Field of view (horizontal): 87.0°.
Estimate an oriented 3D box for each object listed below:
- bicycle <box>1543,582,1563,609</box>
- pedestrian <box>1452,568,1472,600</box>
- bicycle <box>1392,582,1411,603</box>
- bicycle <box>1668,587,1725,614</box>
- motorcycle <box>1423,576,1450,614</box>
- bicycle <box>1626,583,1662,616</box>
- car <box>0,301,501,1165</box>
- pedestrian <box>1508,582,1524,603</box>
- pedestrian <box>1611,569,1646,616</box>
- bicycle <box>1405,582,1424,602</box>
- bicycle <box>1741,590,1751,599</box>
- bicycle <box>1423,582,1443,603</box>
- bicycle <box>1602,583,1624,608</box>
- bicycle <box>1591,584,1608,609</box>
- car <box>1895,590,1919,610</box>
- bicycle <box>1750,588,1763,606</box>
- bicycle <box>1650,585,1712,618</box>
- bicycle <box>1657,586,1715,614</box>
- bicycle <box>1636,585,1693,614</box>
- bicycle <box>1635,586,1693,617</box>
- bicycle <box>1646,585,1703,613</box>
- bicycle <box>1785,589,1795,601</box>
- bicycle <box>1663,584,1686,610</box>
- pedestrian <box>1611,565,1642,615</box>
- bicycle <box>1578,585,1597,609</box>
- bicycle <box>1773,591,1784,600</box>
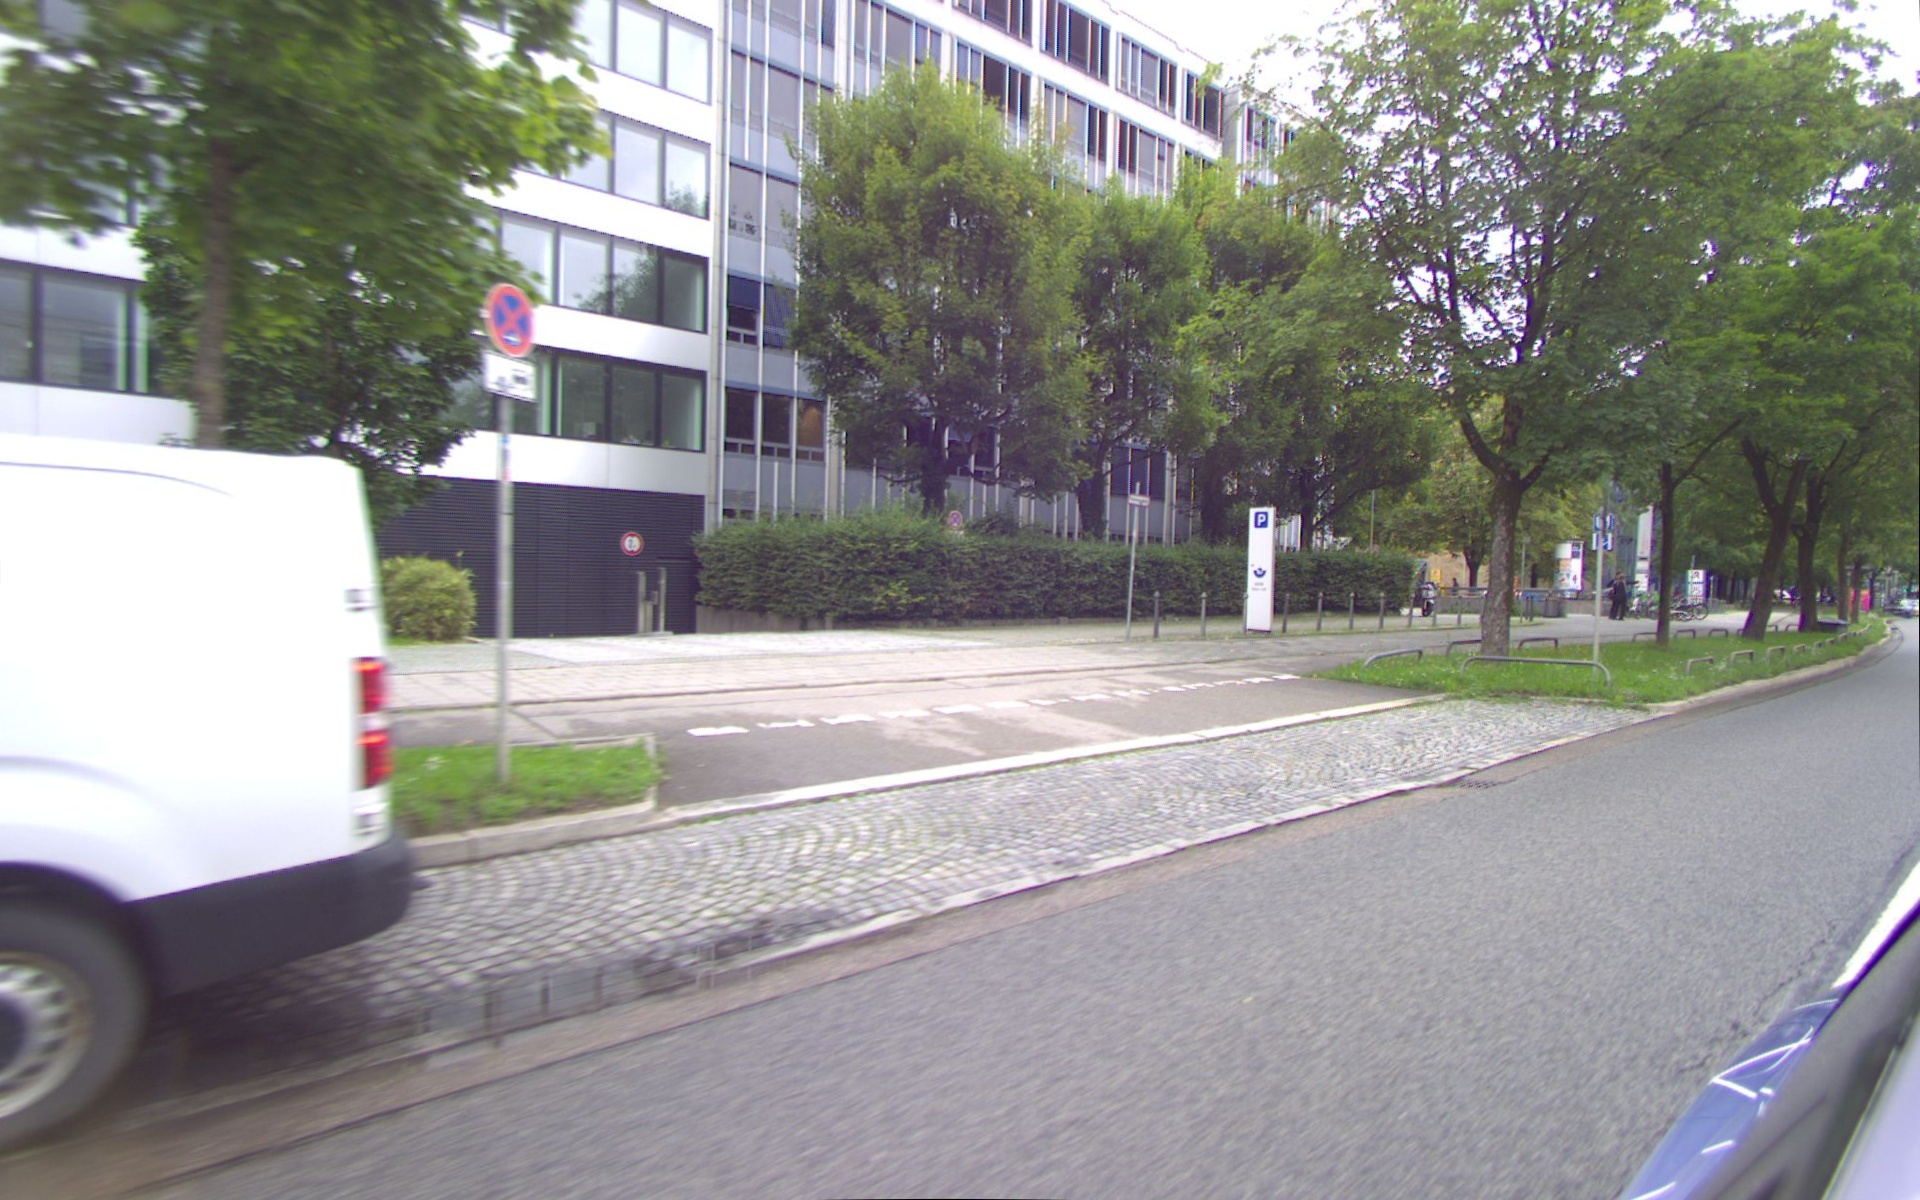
[{"bbox_3d":[30.256,-0.247,51.645,0.507,1.310,2.443,3,2,39],"label":"bicycle"},{"bbox_3d":[28.654,-0.895,57.766,0.754,1.794,0.689,1,1,-30],"label":"pedestrian"},{"bbox_3d":[28.362,-0.470,65.024,0.507,1.276,2.145,3,2,39],"label":"bicycle"},{"bbox_3d":[33.893,0.020,46.583,1.996,1.112,0.580,4,4,5],"label":"bicycle"},{"bbox_3d":[17.615,-0.196,37.424,0.546,1.335,2.048,2,2,34],"label":"motorcycle"},{"bbox_3d":[27.603,-0.012,40.816,1.826,1.241,0.532,3,2,-37],"label":"bicycle"},{"bbox_3d":[-4.233,0.299,2.315,5.456,2.184,1.992,0,2,-40],"label":"car"},{"bbox_3d":[45.304,-0.580,82.438,0.861,1.666,0.573,2,1,-4],"label":"pedestrian"},{"bbox_3d":[25.292,-0.285,38.299,0.735,1.735,0.787,1,1,-27],"label":"pedestrian"},{"bbox_3d":[28.945,-0.500,64.445,0.507,1.276,2.145,3,2,39],"label":"bicycle"},{"bbox_3d":[84.937,-0.565,109.360,2.029,0.952,0.571,-1,3,-42],"label":"bicycle"},{"bbox_3d":[29.632,-0.449,63.384,0.606,1.276,2.025,3,2,41],"label":"bicycle"},{"bbox_3d":[32.192,-0.221,49.887,1.922,1.203,0.446,0,2,-44],"label":"bicycle"},{"bbox_3d":[32.012,-0.176,50.667,0.445,1.203,2.111,3,2,39],"label":"bicycle"},{"bbox_3d":[80.638,0.022,85.619,4.526,1.610,1.863,0,3,-43],"label":"car"},{"bbox_3d":[59.708,-0.241,75.865,0.620,1.265,1.891,3,2,43],"label":"bicycle"},{"bbox_3d":[30.098,0.051,42.289,1.928,1.203,0.594,5,2,16],"label":"bicycle"},{"bbox_3d":[32.667,-0.003,45.557,2.005,1.102,0.604,3,4,6],"label":"bicycle"},{"bbox_3d":[30.678,-0.040,44.108,1.920,1.096,0.596,4,1,6],"label":"bicycle"},{"bbox_3d":[30.078,0.053,43.251,1.920,1.122,0.580,5,2,6],"label":"bicycle"},{"bbox_3d":[31.664,-0.032,44.868,1.920,1.078,0.580,4,3,6],"label":"bicycle"},{"bbox_3d":[88.632,-0.558,108.083,2.105,1.207,0.512,-1,3,-42],"label":"bicycle"},{"bbox_3d":[33.858,-0.131,47.934,1.922,1.203,0.488,0,2,-44],"label":"bicycle"},{"bbox_3d":[25.808,-0.383,39.196,0.734,1.923,0.654,1,1,-29],"label":"pedestrian"},{"bbox_3d":[31.766,-0.166,51.212,0.510,1.203,2.111,3,2,39],"label":"bicycle"},{"bbox_3d":[87.910,-0.442,108.691,2.105,0.952,0.512,0,2,-42],"label":"bicycle"}]
